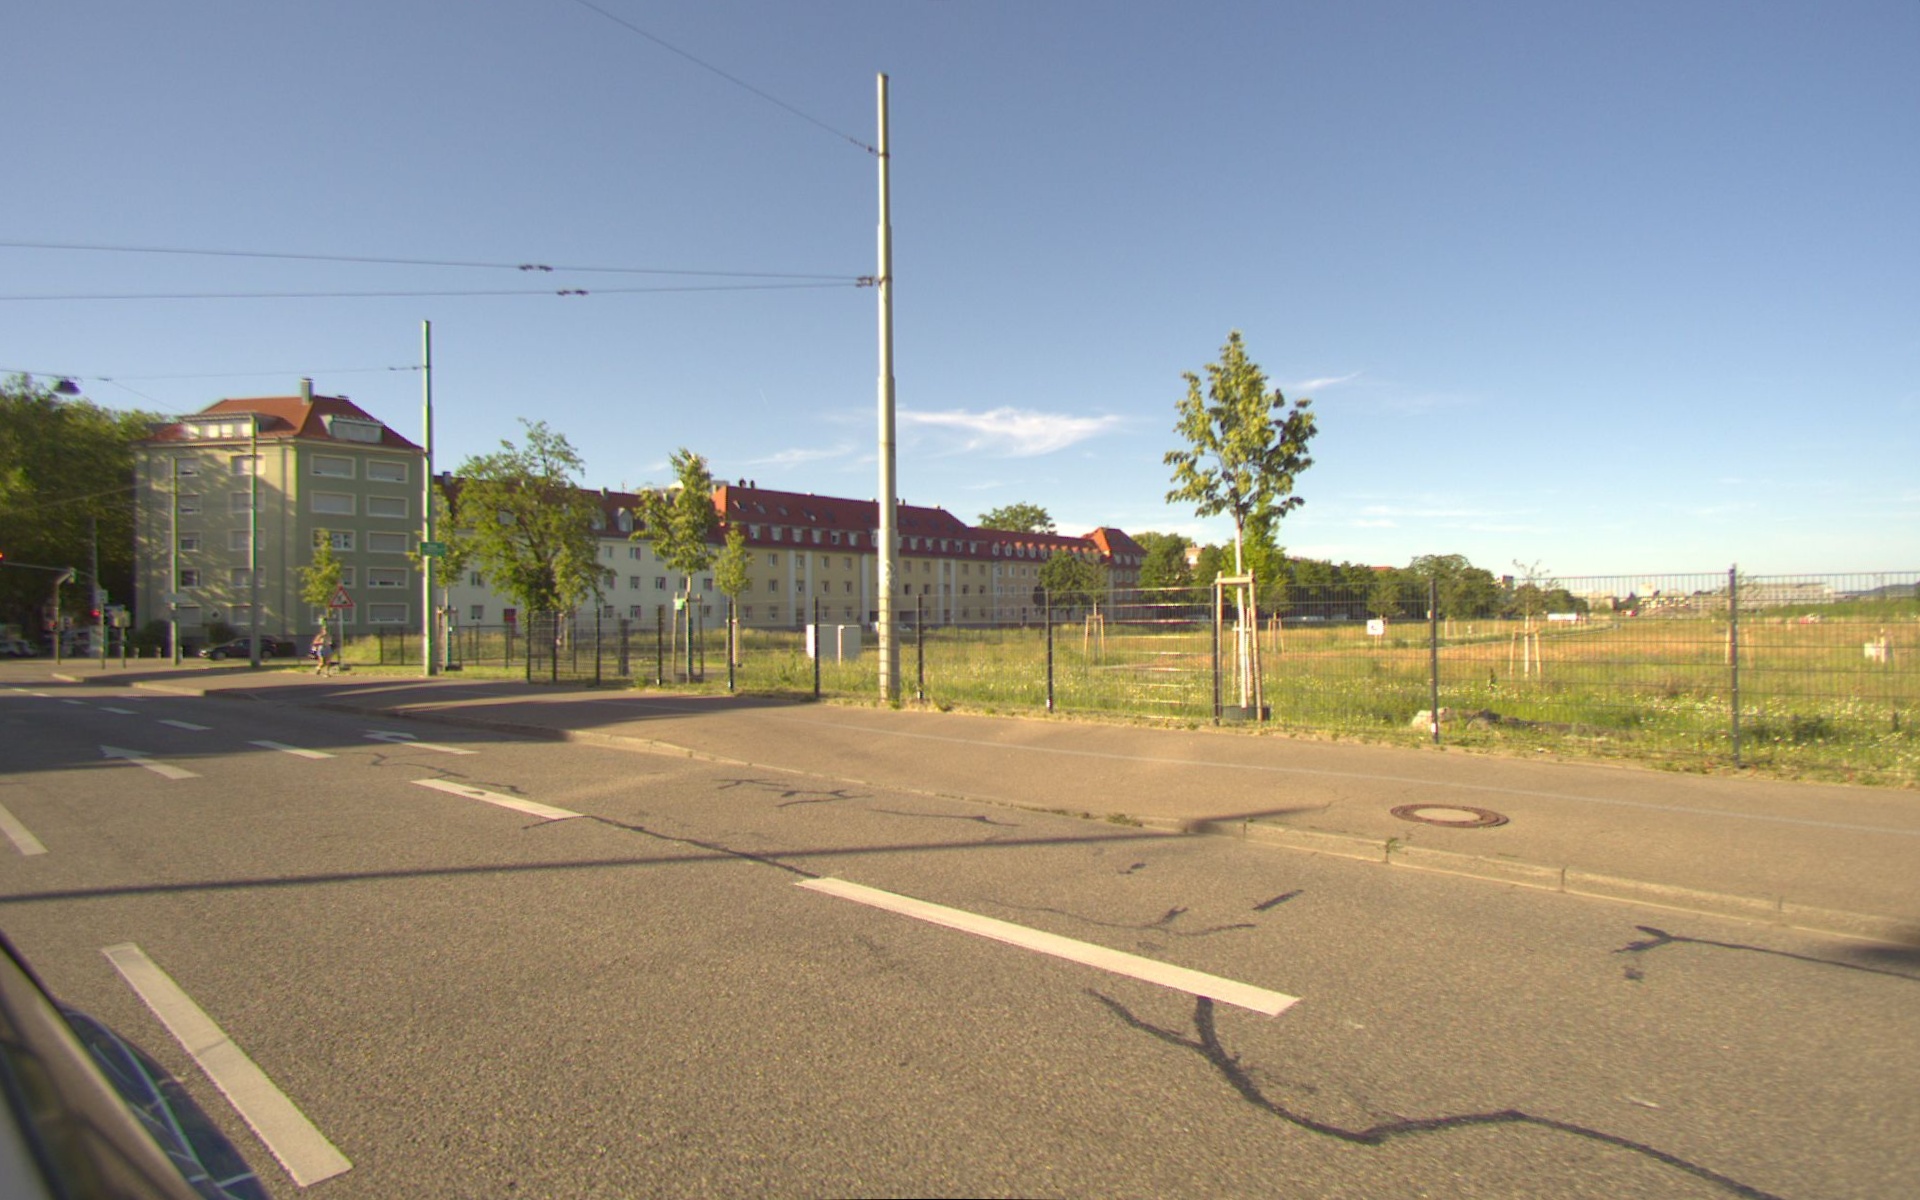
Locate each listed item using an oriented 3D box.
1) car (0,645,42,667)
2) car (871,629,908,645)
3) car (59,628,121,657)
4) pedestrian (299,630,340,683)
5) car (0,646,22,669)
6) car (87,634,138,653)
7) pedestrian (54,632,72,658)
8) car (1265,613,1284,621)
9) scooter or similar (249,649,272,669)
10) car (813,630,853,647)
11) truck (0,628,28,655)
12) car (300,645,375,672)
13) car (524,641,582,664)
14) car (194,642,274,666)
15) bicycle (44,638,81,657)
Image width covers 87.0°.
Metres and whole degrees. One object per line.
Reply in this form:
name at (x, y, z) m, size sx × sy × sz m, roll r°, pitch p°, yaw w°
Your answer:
car at (-77.605, 4.600, 82.289) m, size 4.078 × 1.652 × 1.780 m, roll -2°, pitch 1°, yaw -27°
car at (-7.402, 3.885, 106.242) m, size 1.698 × 1.542 × 3.852 m, roll -7°, pitch -5°, yaw 38°
car at (-88.271, 4.330, 102.750) m, size 4.345 × 2.646 × 1.976 m, roll -2°, pitch 1°, yaw -27°
pedestrian at (-20.466, 1.789, 32.348) m, size 1.181 × 1.641 × 0.823 m, roll -2°, pitch 0°, yaw 44°
car at (-77.196, 4.618, 80.052) m, size 4.078 × 1.652 × 1.780 m, roll -2°, pitch 1°, yaw -27°
car at (-92.619, 4.706, 110.671) m, size 3.932 × 1.851 × 1.821 m, roll -2°, pitch 1°, yaw -27°
pedestrian at (-70.665, 3.517, 79.712) m, size 0.685 × 1.978 × 0.930 m, roll -2°, pitch 1°, yaw -19°
car at (59.258, 3.229, 190.613) m, size 1.942 × 1.505 × 4.148 m, roll -4°, pitch -4°, yaw 42°
scooter or similar at (-41.483, 3.499, 60.018) m, size 0.586 × 1.153 × 1.268 m, roll -1°, pitch -6°, yaw -8°
car at (-12.561, 3.843, 100.387) m, size 1.698 × 1.542 × 3.852 m, roll -7°, pitch -5°, yaw 38°
truck at (-116.767, 5.036, 123.711) m, size 2.304 × 2.994 × 8.057 m, roll -2°, pitch 1°, yaw -30°
car at (-41.335, 3.859, 67.254) m, size 1.698 × 1.542 × 3.852 m, roll -7°, pitch -5°, yaw 38°
car at (-31.624, 4.066, 78.640) m, size 1.698 × 1.542 × 3.852 m, roll -7°, pitch -5°, yaw 38°
car at (-49.512, 3.680, 69.082) m, size 1.942 × 1.505 × 4.148 m, roll -4°, pitch -4°, yaw 42°
bicycle at (-69.747, 3.707, 78.685) m, size 2.017 × 1.473 × 0.728 m, roll 1°, pitch 0°, yaw -20°
